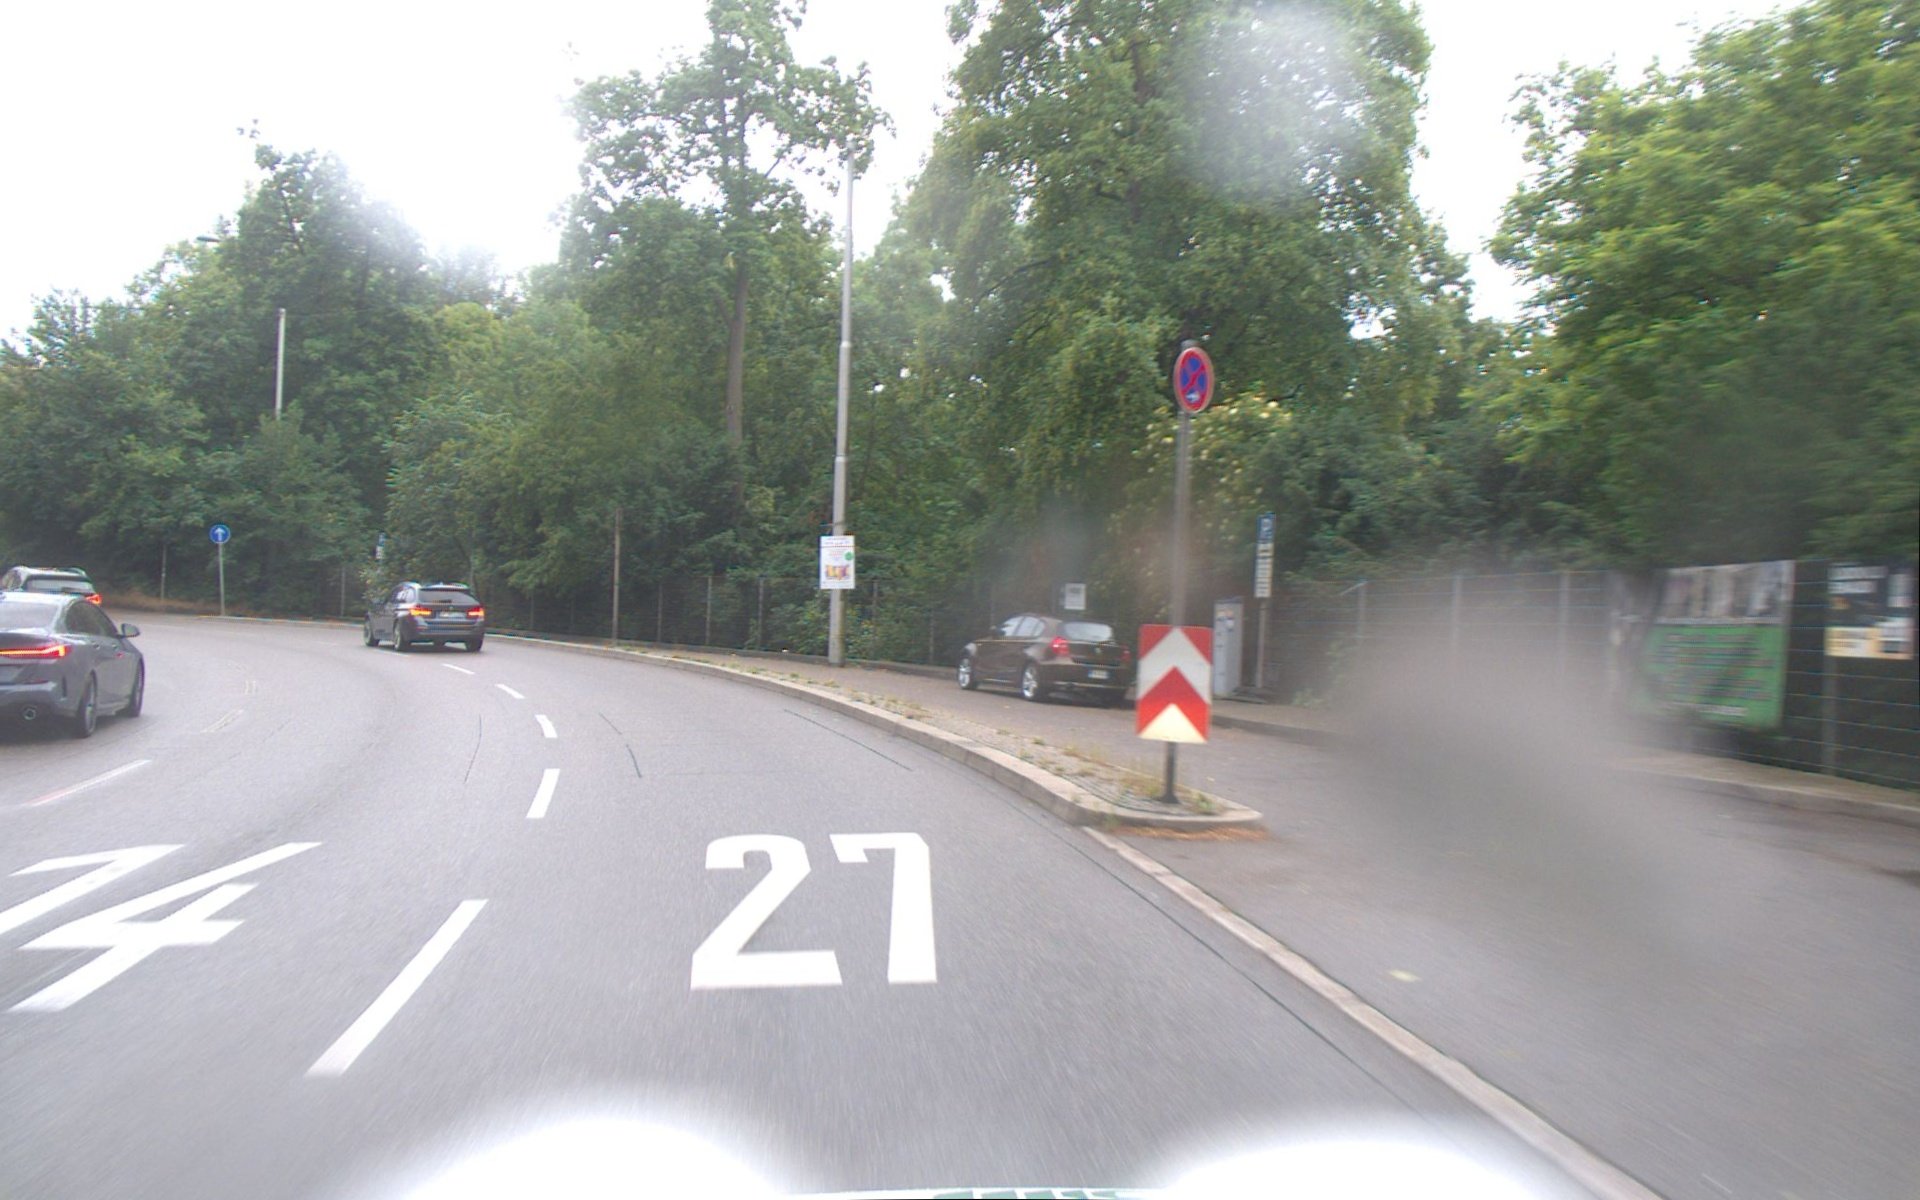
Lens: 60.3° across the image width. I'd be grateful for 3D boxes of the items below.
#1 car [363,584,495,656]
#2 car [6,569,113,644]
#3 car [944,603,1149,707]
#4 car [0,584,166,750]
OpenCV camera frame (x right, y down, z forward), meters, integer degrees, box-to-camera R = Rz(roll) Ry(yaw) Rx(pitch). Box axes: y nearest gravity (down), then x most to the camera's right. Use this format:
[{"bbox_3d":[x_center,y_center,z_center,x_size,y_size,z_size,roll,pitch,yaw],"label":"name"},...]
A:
[{"bbox_3d":[-11.823,0.470,36.642,1.741,1.458,4.363,-1,-1,-32],"label":"car"},{"bbox_3d":[-20.653,0.099,37.862,1.742,1.613,4.360,0,1,-34],"label":"car"},{"bbox_3d":[1.375,0.885,28.207,1.665,1.451,4.339,5,-1,-23],"label":"car"},{"bbox_3d":[-9.747,0.609,17.466,1.638,1.439,4.521,1,1,-16],"label":"car"}]
